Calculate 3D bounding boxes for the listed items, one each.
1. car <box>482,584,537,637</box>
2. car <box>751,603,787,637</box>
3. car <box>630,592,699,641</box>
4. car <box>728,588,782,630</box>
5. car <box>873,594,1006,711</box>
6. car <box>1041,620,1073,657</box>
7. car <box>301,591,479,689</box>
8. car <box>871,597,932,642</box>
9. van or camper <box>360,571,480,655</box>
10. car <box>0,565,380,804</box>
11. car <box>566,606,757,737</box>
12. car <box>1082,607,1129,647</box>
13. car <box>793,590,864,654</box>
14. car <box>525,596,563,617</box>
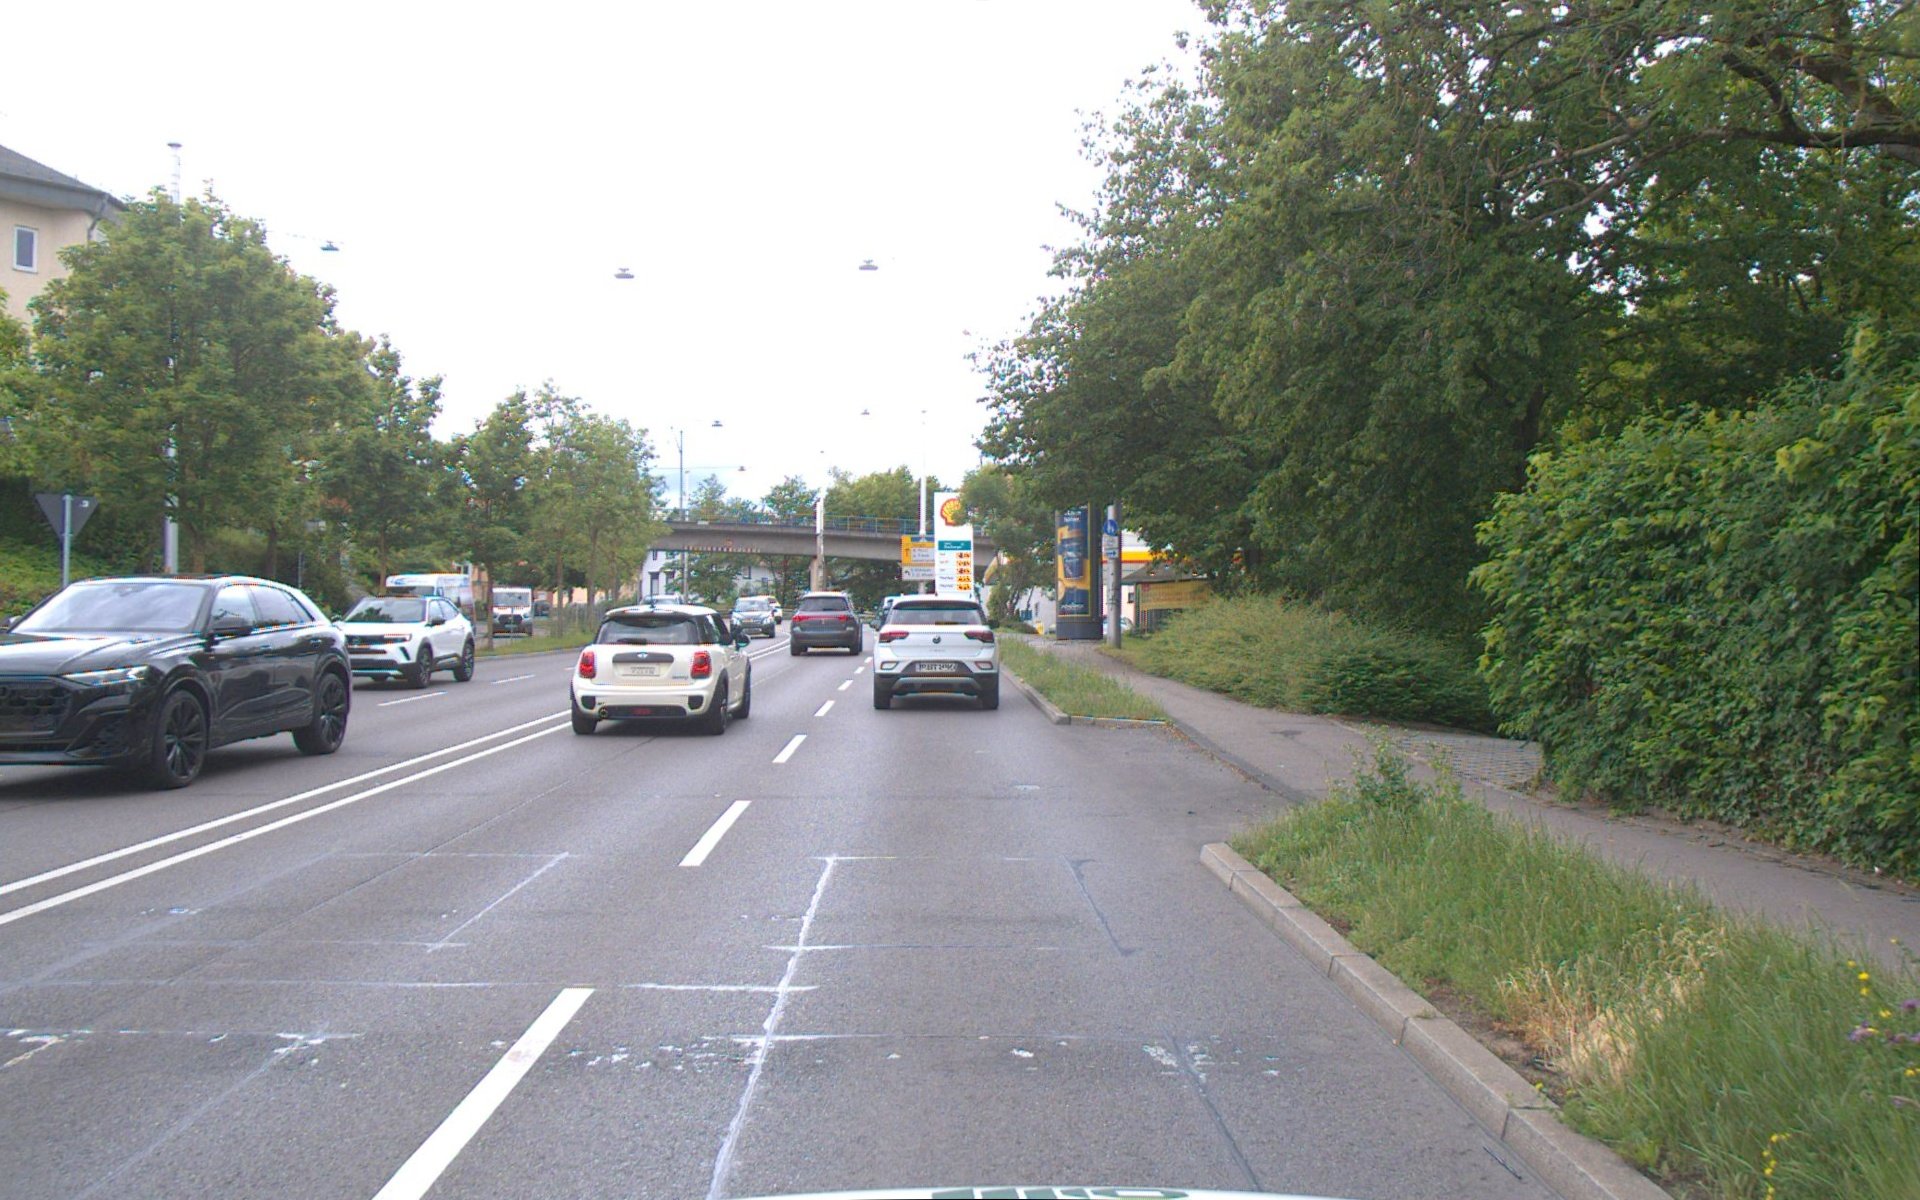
[{"bbox_3d":[-20.559,0.472,75.696,2.229,2.312,6.304,-1,0,-14],"label":"car"},{"bbox_3d":[-11.249,1.169,97.201,1.863,1.971,3.991,0,0,-10],"label":"car"},{"bbox_3d":[-10.781,0.577,60.576,1.728,1.738,4.869,0,0,-1],"label":"car"},{"bbox_3d":[-8.221,0.344,66.598,1.728,1.620,4.365,0,0,-1],"label":"car"},{"bbox_3d":[-0.304,0.699,23.699,1.760,1.545,3.455,0,0,-1],"label":"car"},{"bbox_3d":[5.948,2.368,101.697,1.700,2.046,4.712,-1,-4,1],"label":"car"},{"bbox_3d":[-9.642,0.636,28.291,1.764,1.569,3.921,0,0,-1],"label":"car"},{"bbox_3d":[-1.919,0.616,53.727,1.644,1.433,3.450,0,0,-8],"label":"car"},{"bbox_3d":[-17.318,0.408,53.379,1.953,2.516,5.710,-1,0,0],"label":"van or camper"},{"bbox_3d":[-6.851,0.630,14.486,1.809,1.733,4.763,-1,0,1],"label":"car"},{"bbox_3d":[-3.429,0.782,19.568,1.688,1.400,3.455,0,0,-1],"label":"car"},{"bbox_3d":[6.232,1.184,71.273,1.700,1.512,3.877,-1,-4,1],"label":"car"},{"bbox_3d":[-3.495,0.572,44.407,1.688,1.668,3.455,0,0,-1],"label":"car"},{"bbox_3d":[-33.328,0.514,132.504,1.766,1.603,4.423,-2,0,-30],"label":"car"}]
